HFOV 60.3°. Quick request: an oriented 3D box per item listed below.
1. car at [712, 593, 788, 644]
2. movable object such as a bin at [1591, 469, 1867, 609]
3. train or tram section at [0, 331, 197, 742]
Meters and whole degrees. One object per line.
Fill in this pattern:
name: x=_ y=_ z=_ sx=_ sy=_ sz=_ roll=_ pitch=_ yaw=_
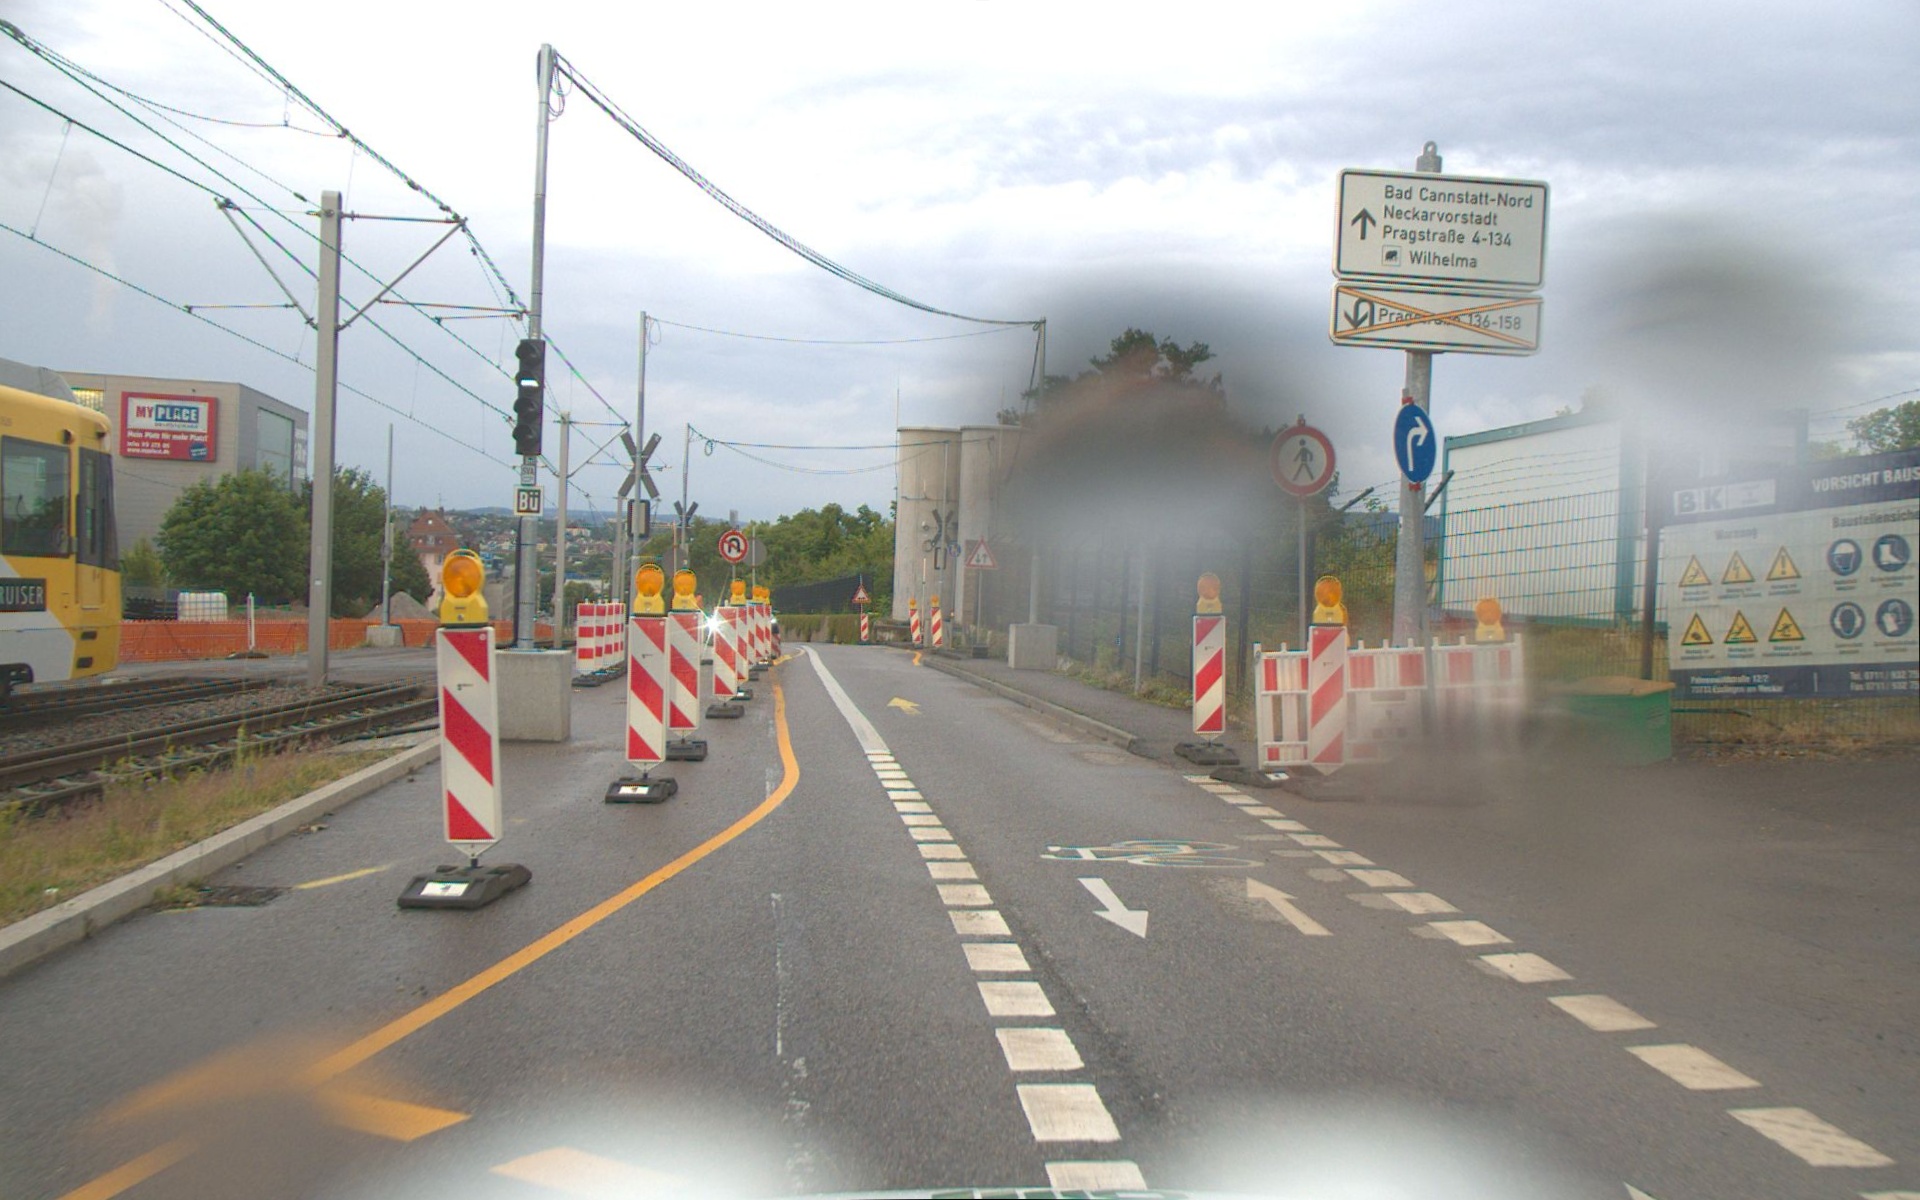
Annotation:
car: x=-7.468 y=0.646 z=58.501 sx=1.962 sy=1.707 sz=4.468 roll=1 pitch=-1 yaw=-17
movable object such as a bin: x=35.370 y=-2.763 z=76.496 sx=10.995 sy=6.100 sz=3.493 roll=1 pitch=0 yaw=4
train or tram section: x=-10.404 y=-0.636 z=10.743 sx=2.897 sy=3.953 sz=19.277 roll=3 pitch=0 yaw=-3
